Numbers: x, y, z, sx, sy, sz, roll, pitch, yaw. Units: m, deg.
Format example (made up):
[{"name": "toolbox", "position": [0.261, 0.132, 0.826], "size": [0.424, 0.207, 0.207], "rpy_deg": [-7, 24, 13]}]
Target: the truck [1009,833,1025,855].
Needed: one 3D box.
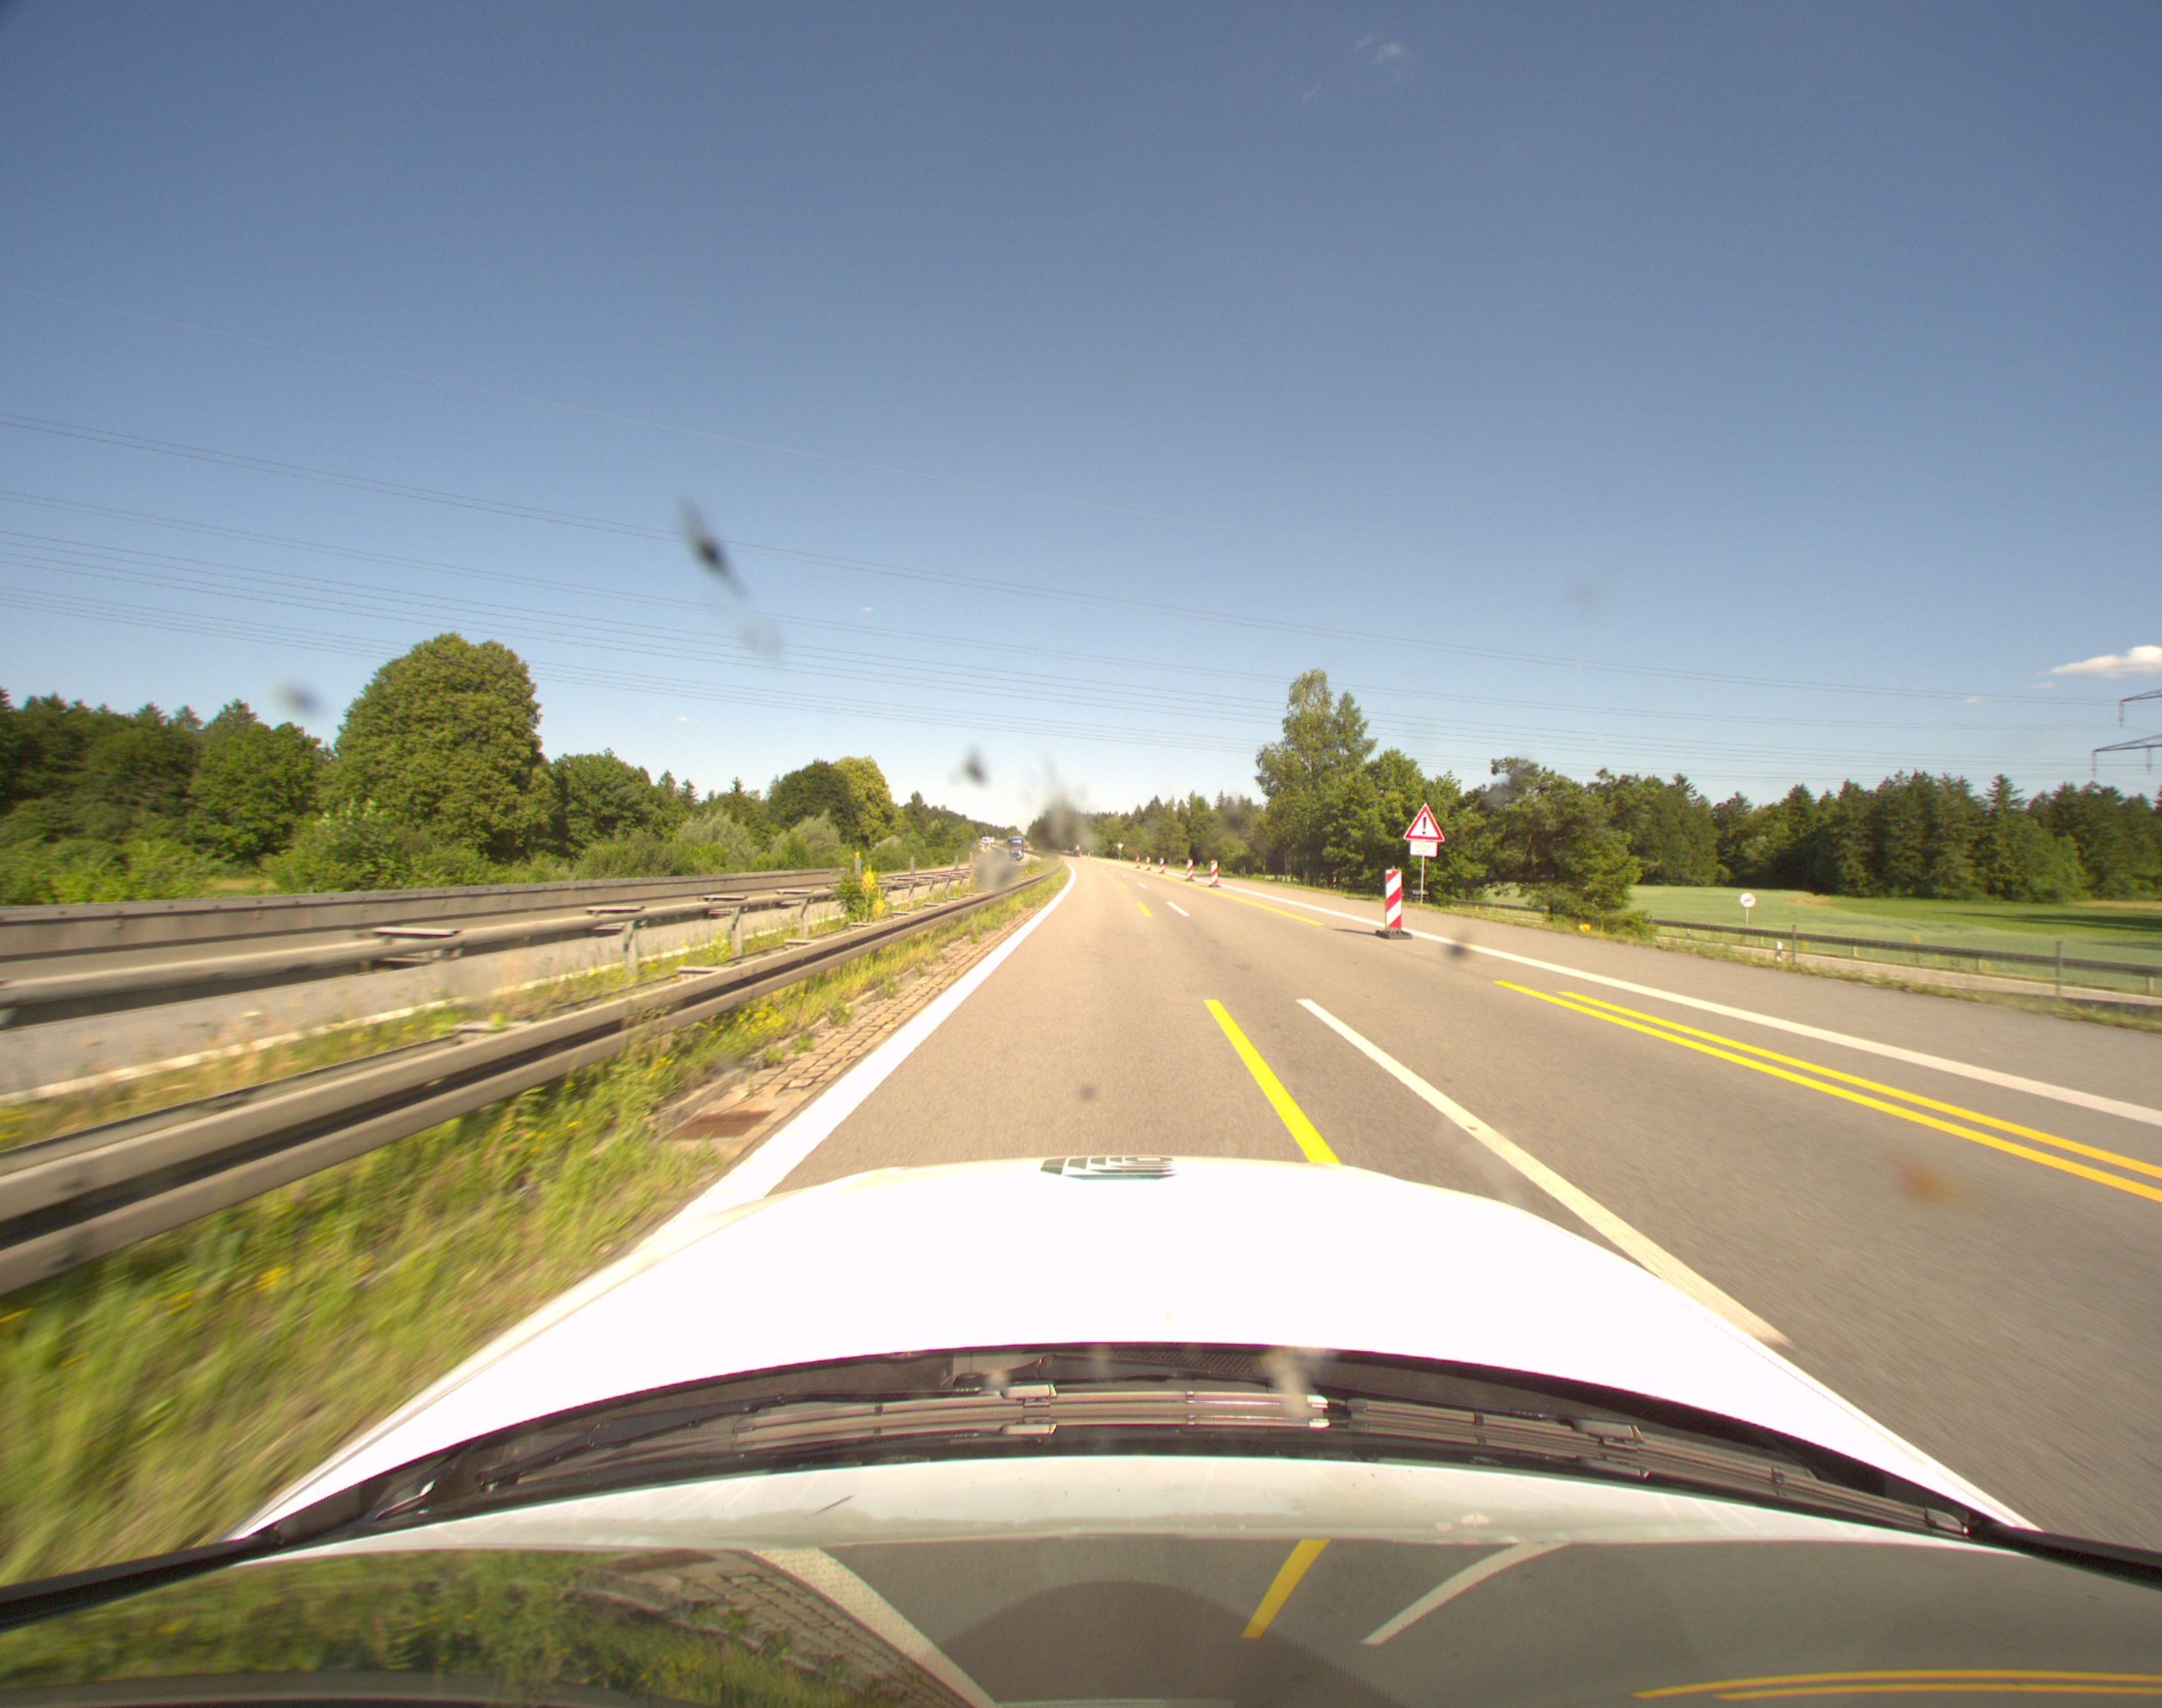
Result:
[{"name": "truck", "position": [-11.716, -1.834, 149.891], "size": [2.625, 3.959, 5.838], "rpy_deg": [0, 0, -2]}]

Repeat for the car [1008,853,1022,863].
[{"name": "car", "position": [-10.016, 0.618, 123.425], "size": [1.772, 1.429, 4.267], "rpy_deg": [-1, 0, -1]}]
